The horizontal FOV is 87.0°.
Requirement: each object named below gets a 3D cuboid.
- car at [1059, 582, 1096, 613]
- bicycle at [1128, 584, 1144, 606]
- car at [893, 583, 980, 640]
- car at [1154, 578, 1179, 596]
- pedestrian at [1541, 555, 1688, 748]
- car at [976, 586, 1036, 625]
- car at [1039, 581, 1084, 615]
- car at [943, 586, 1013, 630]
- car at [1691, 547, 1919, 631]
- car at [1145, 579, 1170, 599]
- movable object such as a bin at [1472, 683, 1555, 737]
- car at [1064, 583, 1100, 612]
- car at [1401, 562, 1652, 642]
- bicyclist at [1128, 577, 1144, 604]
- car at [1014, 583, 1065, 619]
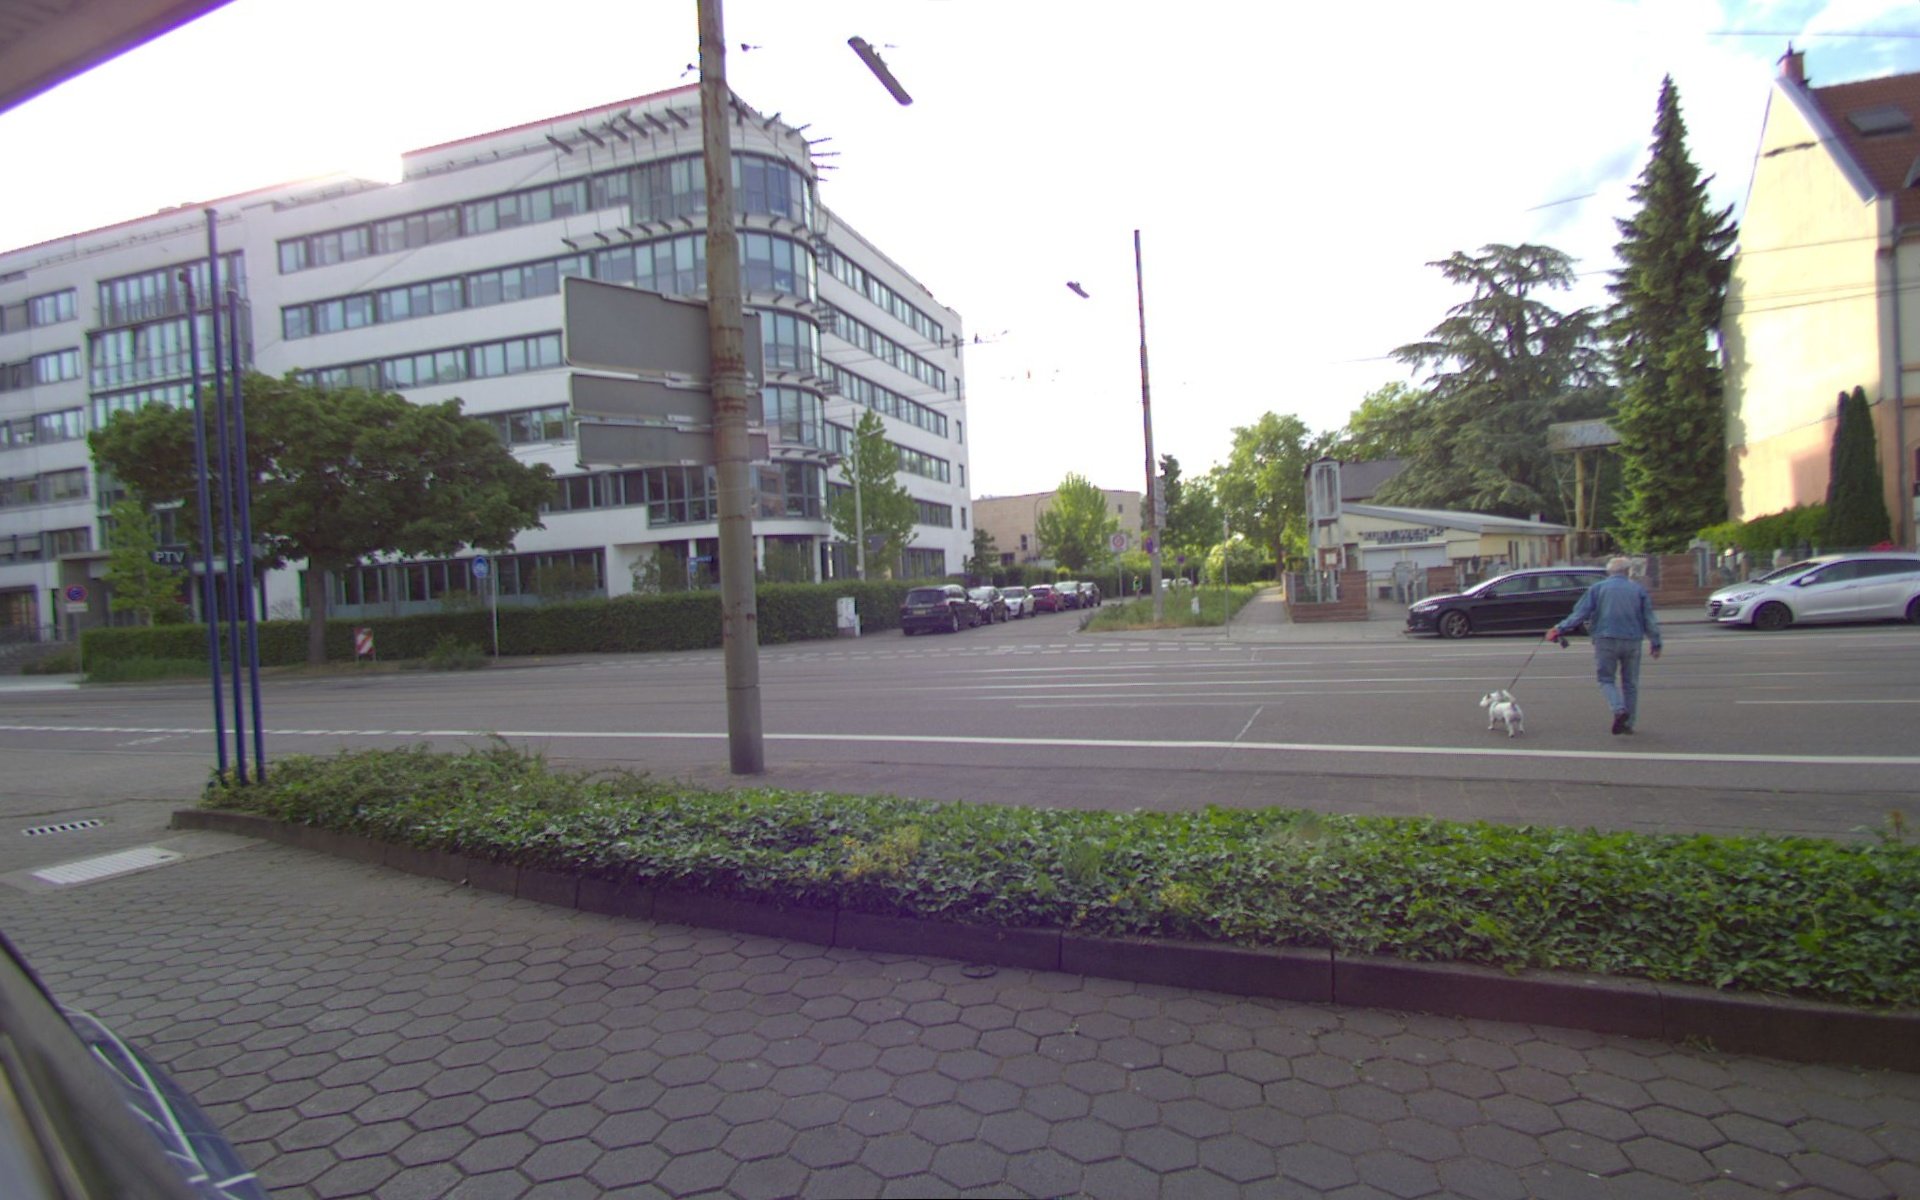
[{"bbox_3d":[7.284,-0.169,62.498,1.731,1.748,4.030,-3,0,13],"label":"car"},{"bbox_3d":[11.480,-0.343,65.918,0.858,1.320,1.911,-3,3,13],"label":"bicycle"},{"bbox_3d":[-0.731,0.354,35.419,1.994,1.704,4.274,-3,1,13],"label":"car"},{"bbox_3d":[21.687,-1.349,106.164,1.849,1.748,4.246,-3,1,19],"label":"car"},{"bbox_3d":[6.145,0.465,9.572,0.999,1.680,0.962,-4,2,29],"label":"pedestrian"},{"bbox_3d":[2.137,0.207,45.789,1.929,1.530,4.274,-3,0,13],"label":"car"},{"bbox_3d":[5.830,-0.159,57.724,1.929,1.748,4.512,-3,0,13],"label":"car"},{"bbox_3d":[0.789,0.284,40.978,1.929,1.551,4.274,-3,0,13],"label":"car"},{"bbox_3d":[18.417,-0.252,21.384,4.424,1.494,1.713,-3,1,21],"label":"car"},{"bbox_3d":[19.695,-1.098,100.794,1.849,1.748,4.247,-3,1,19],"label":"car"},{"bbox_3d":[5.461,1.079,10.010,0.475,0.424,0.679,-3,2,5],"label":"movable object such as a bin"},{"bbox_3d":[8.087,-0.181,66.759,1.845,1.748,4.256,-3,0,13],"label":"car"},{"bbox_3d":[12.906,0.048,23.446,4.742,1.511,2.001,-3,1,21],"label":"car"},{"bbox_3d":[11.438,-0.626,65.823,0.858,1.617,1.024,-3,3,14],"label":"bicyclist"},{"bbox_3d":[4.171,0.015,52.495,1.929,1.650,4.274,-3,0,13],"label":"car"}]
